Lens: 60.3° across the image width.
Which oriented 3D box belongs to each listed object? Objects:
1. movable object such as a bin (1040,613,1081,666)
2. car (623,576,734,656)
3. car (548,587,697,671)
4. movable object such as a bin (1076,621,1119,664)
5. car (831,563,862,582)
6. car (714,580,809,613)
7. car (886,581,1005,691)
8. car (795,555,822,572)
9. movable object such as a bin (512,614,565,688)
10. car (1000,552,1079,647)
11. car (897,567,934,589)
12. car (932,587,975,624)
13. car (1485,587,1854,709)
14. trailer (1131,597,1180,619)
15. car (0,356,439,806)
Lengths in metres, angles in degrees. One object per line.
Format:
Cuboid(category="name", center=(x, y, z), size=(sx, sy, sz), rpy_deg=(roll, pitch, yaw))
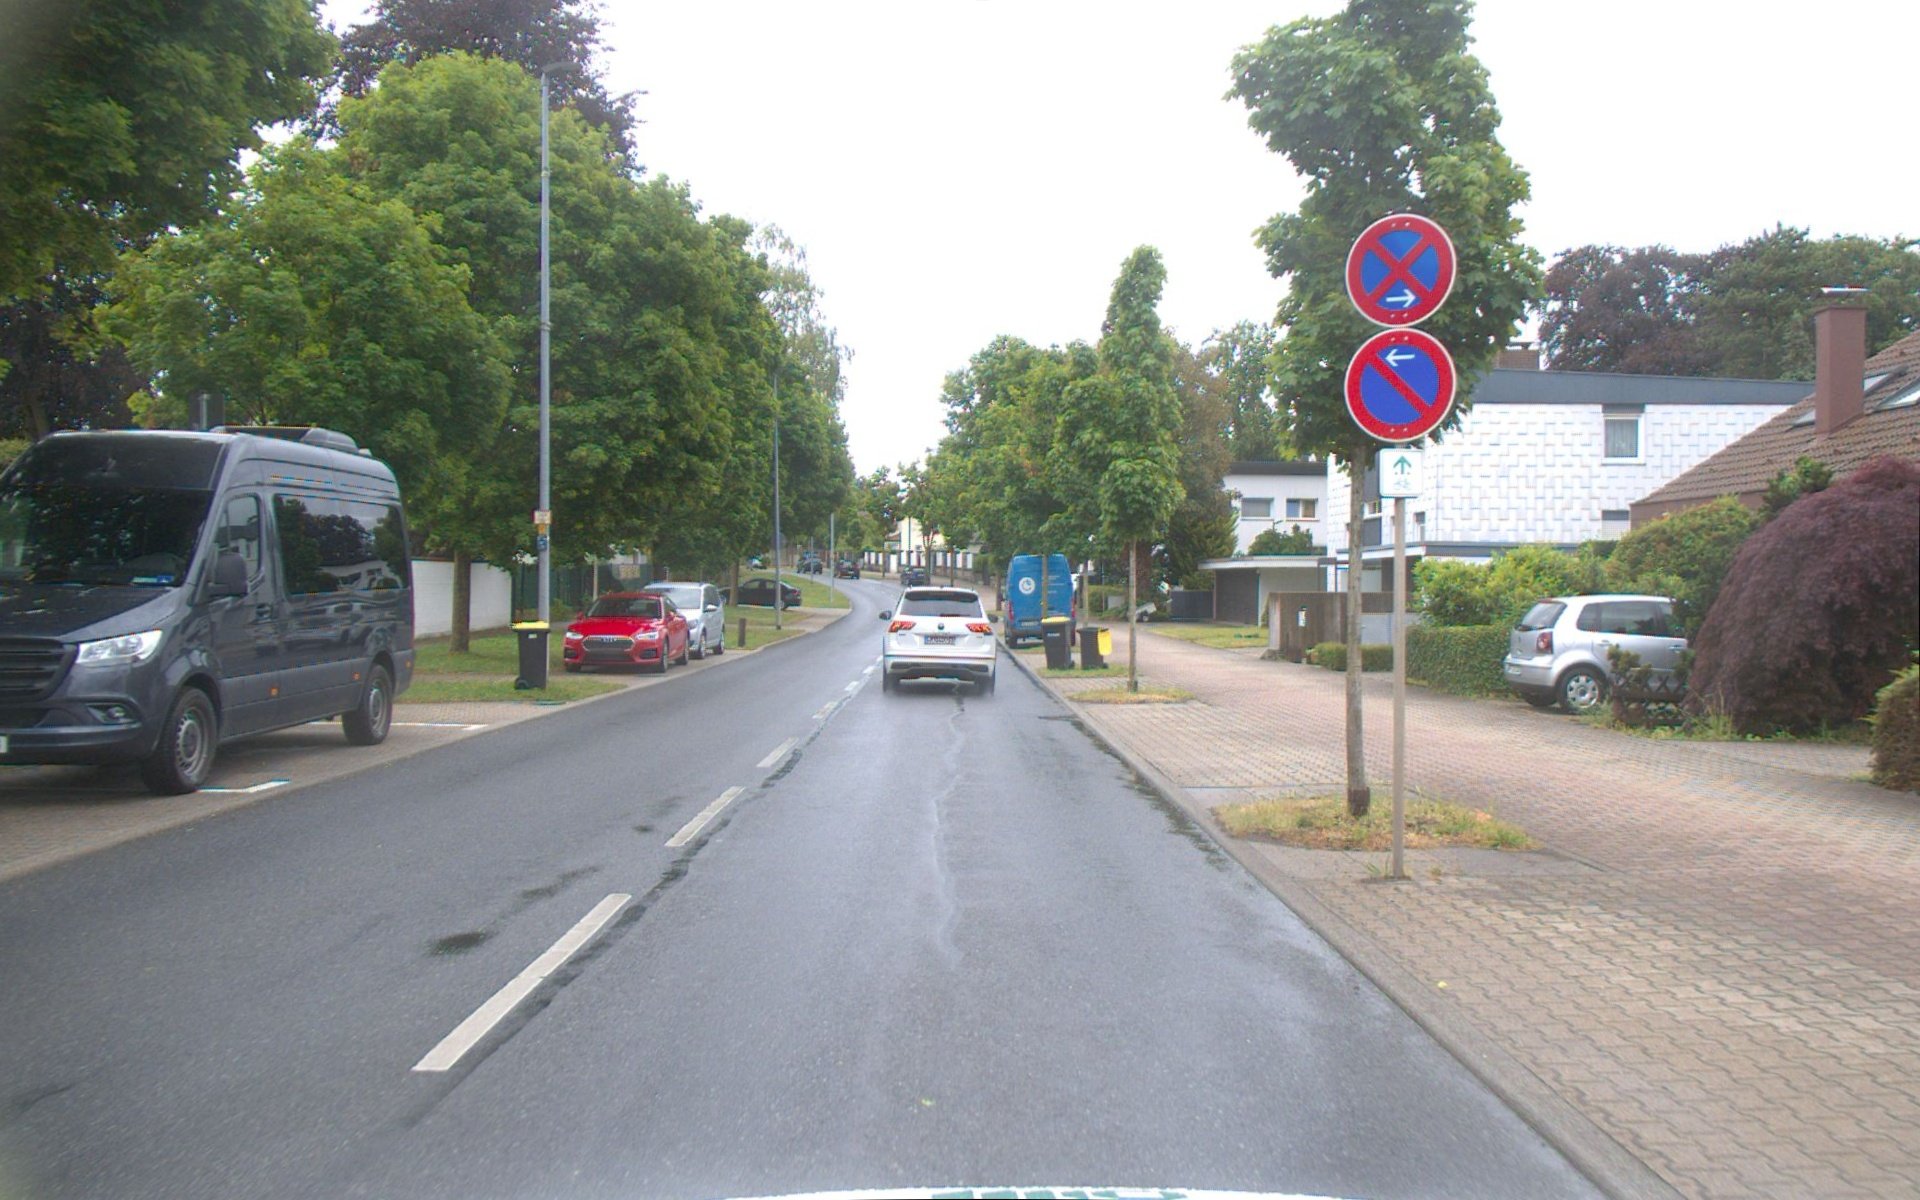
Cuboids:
Cuboid(category="movable object such as a bin", center=(2.031, 0.795, 33.372), size=(0.602, 1.033, 0.562), rpy_deg=(-4, -2, 24))
Cuboid(category="car", center=(-6.218, 0.327, 36.974), size=(1.720, 1.656, 4.232), rpy_deg=(1, 0, 0))
Cuboid(category="car", center=(-6.256, 0.491, 31.154), size=(1.953, 1.428, 4.556), rpy_deg=(1, 0, -1))
Cuboid(category="movable object such as a bin", center=(2.724, 0.837, 32.759), size=(0.646, 0.814, 0.600), rpy_deg=(-3, -1, 24))
Cuboid(category="car", center=(-9.407, -2.282, 136.550), size=(1.617, 1.452, 3.981), rpy_deg=(2, 2, -17))
Cuboid(category="car", center=(-9.355, -0.158, 78.145), size=(4.130, 1.386, 1.691), rpy_deg=(2, 0, 3))
Cuboid(category="car", center=(-0.290, 0.534, 27.295), size=(1.827, 1.679, 3.999), rpy_deg=(0, 0, -2))
Cuboid(category="car", center=(-13.876, -3.324, 151.515), size=(1.617, 1.452, 3.981), rpy_deg=(2, 2, -17))
Cuboid(category="movable object such as a bin", center=(-5.668, 0.682, 22.265), size=(0.546, 0.970, 0.550), rpy_deg=(1, 0, 3))
Cuboid(category="car", center=(2.331, -0.048, 49.686), size=(1.953, 2.632, 5.632), rpy_deg=(-1, 1, -1))
Cuboid(category="car", center=(-3.349, -1.646, 123.767), size=(1.618, 1.452, 3.978), rpy_deg=(2, 2, -20))
Cuboid(category="car", center=(-0.291, 0.228, 72.243), size=(1.733, 1.578, 3.998), rpy_deg=(1, 0, -2))
Cuboid(category="car", center=(8.933, 0.585, 21.038), size=(3.907, 1.467, 1.846), rpy_deg=(0, 0, -3))
Cuboid(category="trailer", center=(8.587, 0.336, 72.640), size=(2.000, 0.899, 1.365), rpy_deg=(2, 0, 2))
Cuboid(category="car", center=(-6.127, -0.163, 13.282), size=(1.953, 2.776, 5.937), rpy_deg=(2, 0, 0))
